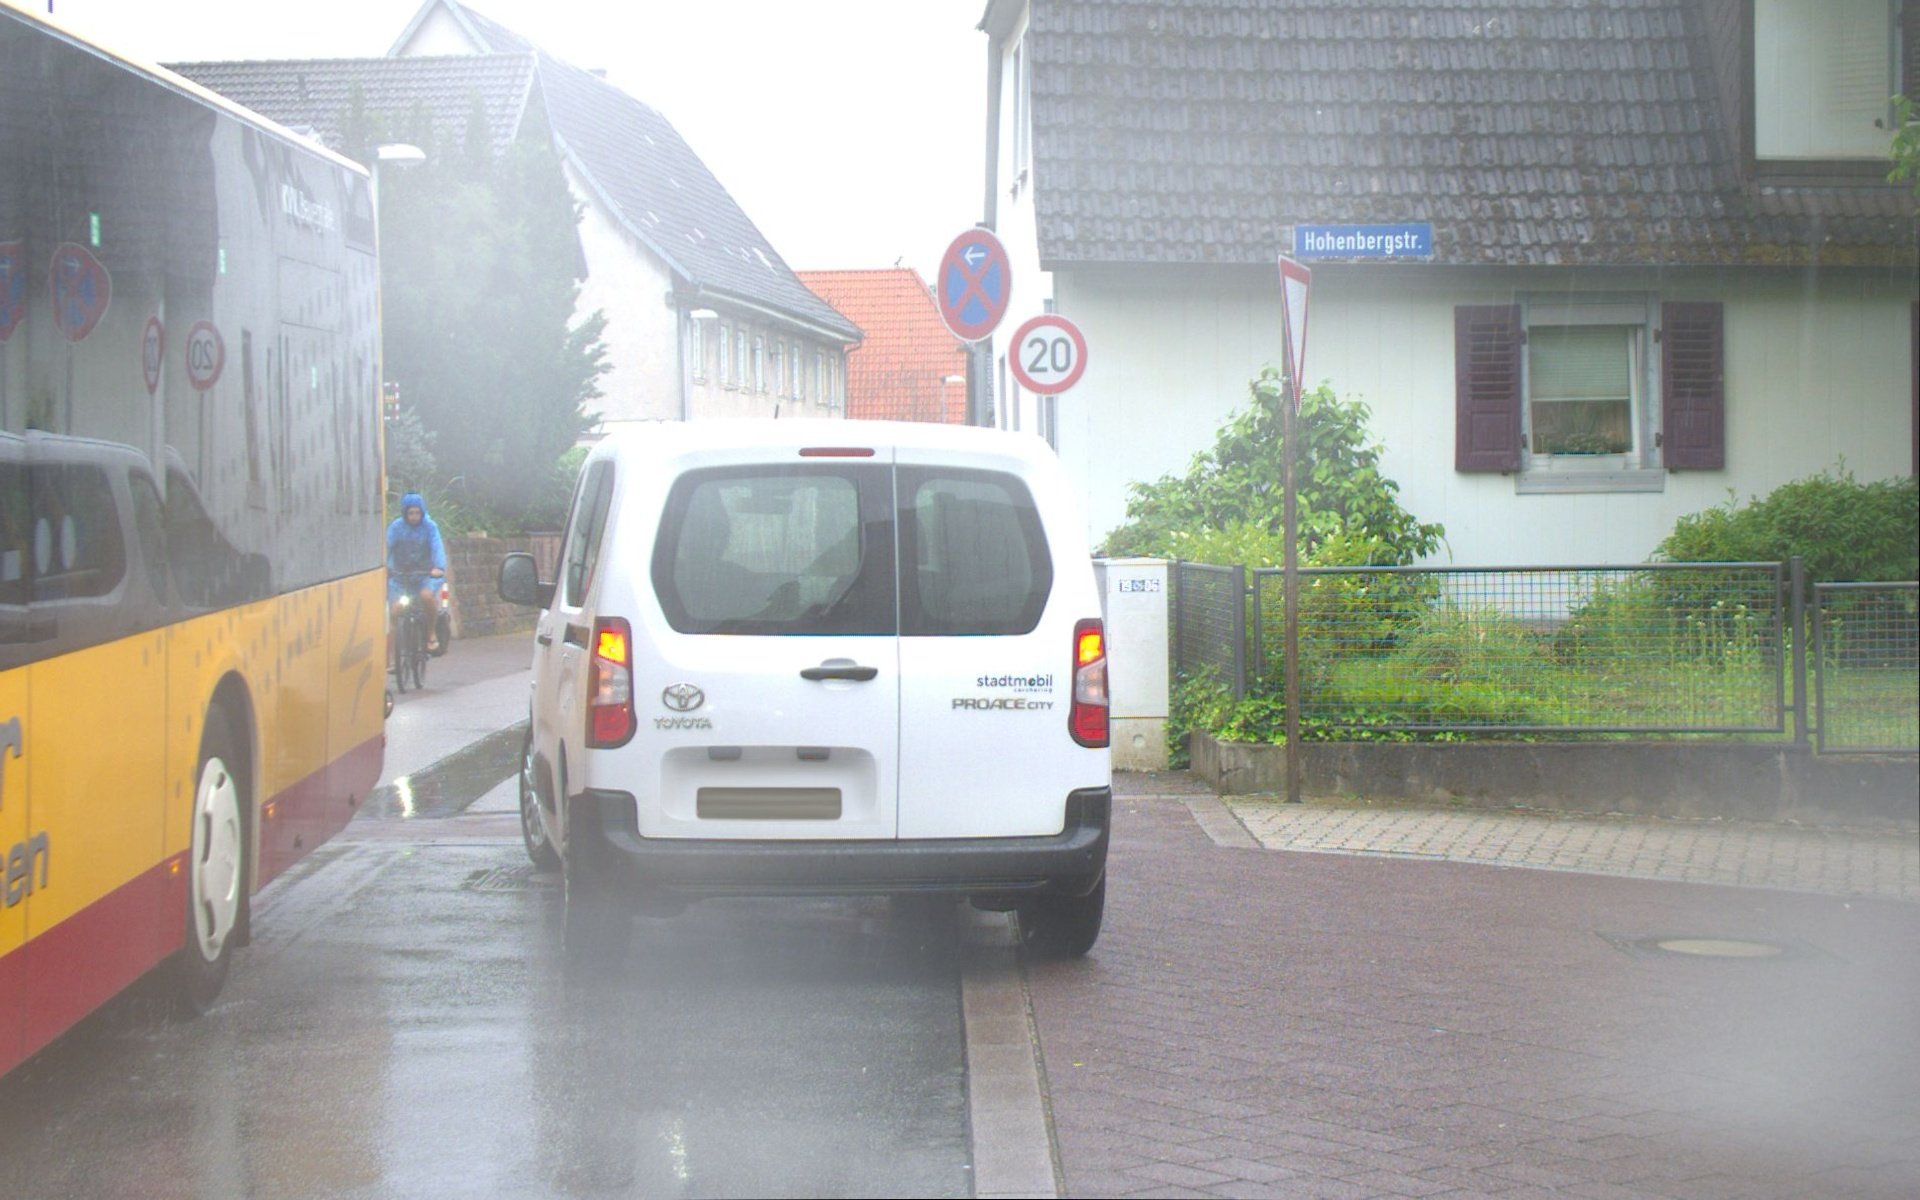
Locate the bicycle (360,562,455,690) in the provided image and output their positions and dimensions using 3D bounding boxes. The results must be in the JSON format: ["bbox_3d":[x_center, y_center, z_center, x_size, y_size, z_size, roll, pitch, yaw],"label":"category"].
[{"bbox_3d":[-5.276,0.235,32.903,0.546,1.177,1.621,-2,0,3],"label":"bicycle"}]

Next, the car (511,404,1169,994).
[{"bbox_3d":[-0.601,0.272,12.439,1.894,1.787,3.814,1,1,-9],"label":"car"}]

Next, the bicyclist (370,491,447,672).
[{"bbox_3d":[-5.288,-0.179,32.983,0.589,1.701,0.517,-2,0,2],"label":"bicyclist"}]

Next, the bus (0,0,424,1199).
[{"bbox_3d":[-3.349,-0.244,7.620,2.649,2.989,12.194,0,3,-1],"label":"bus"}]
